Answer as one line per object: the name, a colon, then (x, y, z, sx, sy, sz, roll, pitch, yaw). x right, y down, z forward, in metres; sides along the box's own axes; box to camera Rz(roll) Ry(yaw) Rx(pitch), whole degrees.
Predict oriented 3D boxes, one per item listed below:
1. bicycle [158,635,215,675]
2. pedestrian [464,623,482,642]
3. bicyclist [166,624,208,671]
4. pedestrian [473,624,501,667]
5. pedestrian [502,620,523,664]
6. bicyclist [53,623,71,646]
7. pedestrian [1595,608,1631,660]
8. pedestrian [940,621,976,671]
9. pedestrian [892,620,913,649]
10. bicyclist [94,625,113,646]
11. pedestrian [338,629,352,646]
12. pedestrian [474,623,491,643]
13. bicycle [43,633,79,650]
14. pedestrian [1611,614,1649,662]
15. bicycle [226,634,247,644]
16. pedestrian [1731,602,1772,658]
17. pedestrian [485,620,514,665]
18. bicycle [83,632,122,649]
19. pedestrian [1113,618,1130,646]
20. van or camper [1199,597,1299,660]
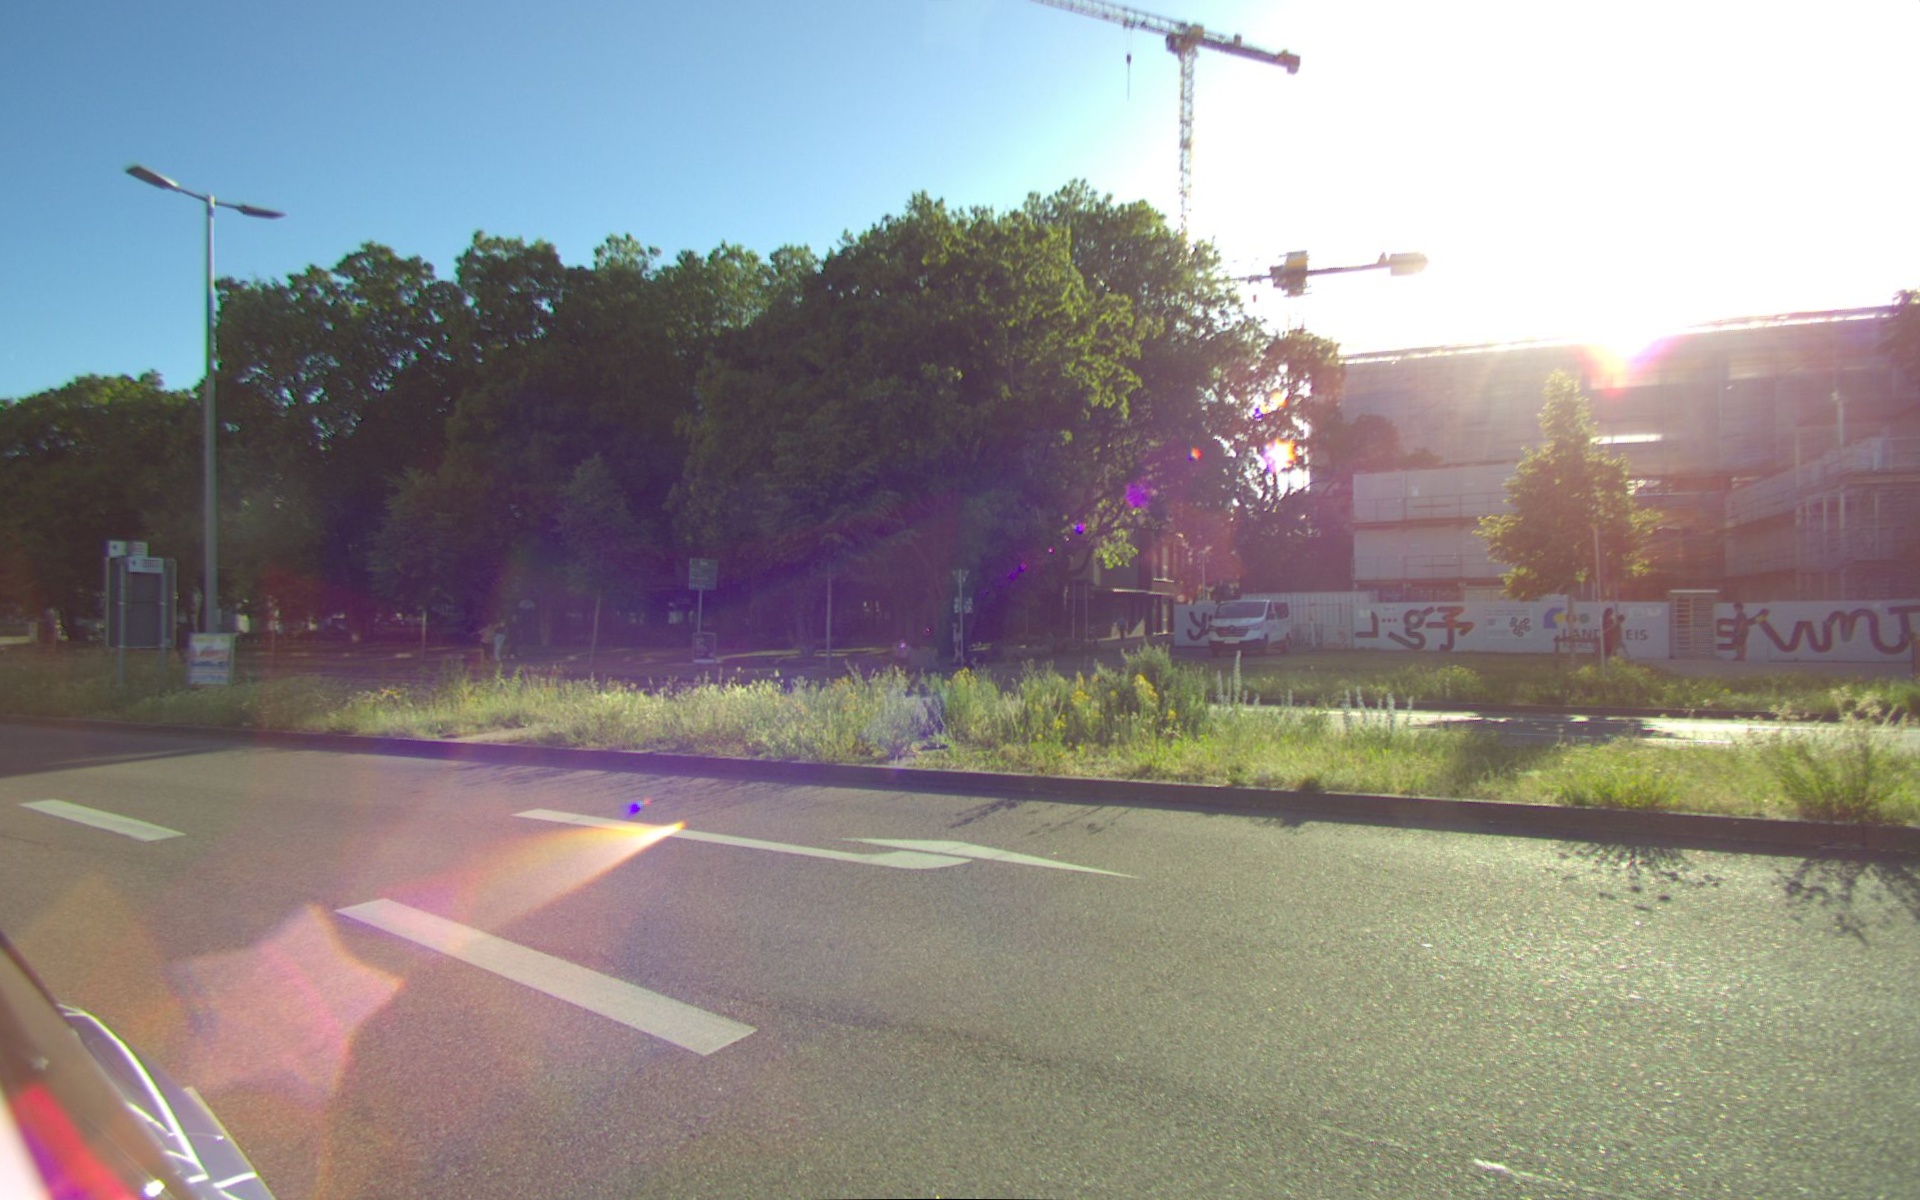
bicycle: (-27.368, 1.927, 35.806, 2.249, 1.285, 0.752, 1, -1, 30)
pedestrian: (-34.321, 2.285, 71.348, 0.662, 1.350, 0.899, -1, -2, 30)
bicyclist: (-27.335, 1.669, 35.792, 1.197, 1.602, 0.742, 1, -1, 30)
pedestrian: (-18.526, 1.759, 39.658, 0.723, 1.653, 0.737, -1, -2, 31)
pedestrian: (-18.131, 1.684, 41.007, 0.652, 1.754, 0.520, -1, -2, 31)
bicyclist: (-70.272, 2.727, 79.188, 0.751, 1.756, 0.831, 1, -1, 27)
pedestrian: (20.128, 1.050, 31.210, 0.831, 1.570, 0.576, -2, -2, 25)
pedestrian: (-0.052, 1.447, 31.995, 0.939, 1.539, 0.608, -2, -2, 33)
pedestrian: (-3.145, 1.870, 55.290, 0.888, 1.552, 0.899, -1, -1, 20)
bicyclist: (-69.029, 2.872, 81.564, 0.772, 1.703, 0.917, 1, -1, 27)
pedestrian: (-47.539, 2.909, 78.262, 0.597, 1.350, 0.726, -1, -2, 30)
pedestrian: (-33.578, 2.305, 71.113, 0.713, 1.350, 0.821, -1, -2, 30)
bicycle: (-70.292, 3.262, 79.143, 0.774, 1.249, 2.002, 1, -1, 26)
pedestrian: (19.921, 1.130, 30.099, 0.831, 1.388, 0.576, -2, -2, 25)
bicycle: (-63.846, 3.413, 89.309, 1.593, 0.896, 0.765, -1, -2, 19)
pedestrian: (24.131, 0.917, 30.863, 0.831, 1.701, 0.576, -2, -2, 25)
pedestrian: (-18.277, 1.694, 40.147, 0.758, 1.754, 0.765, -1, -2, 31)
bicycle: (-69.076, 3.261, 81.516, 0.774, 1.249, 2.291, 1, -1, 27)
pedestrian: (9.871, 1.954, 61.805, 0.742, 1.653, 0.718, -1, -2, 33)
van or camper: (10.301, 0.990, 35.691, 2.247, 2.029, 5.626, 1, -1, 28)
